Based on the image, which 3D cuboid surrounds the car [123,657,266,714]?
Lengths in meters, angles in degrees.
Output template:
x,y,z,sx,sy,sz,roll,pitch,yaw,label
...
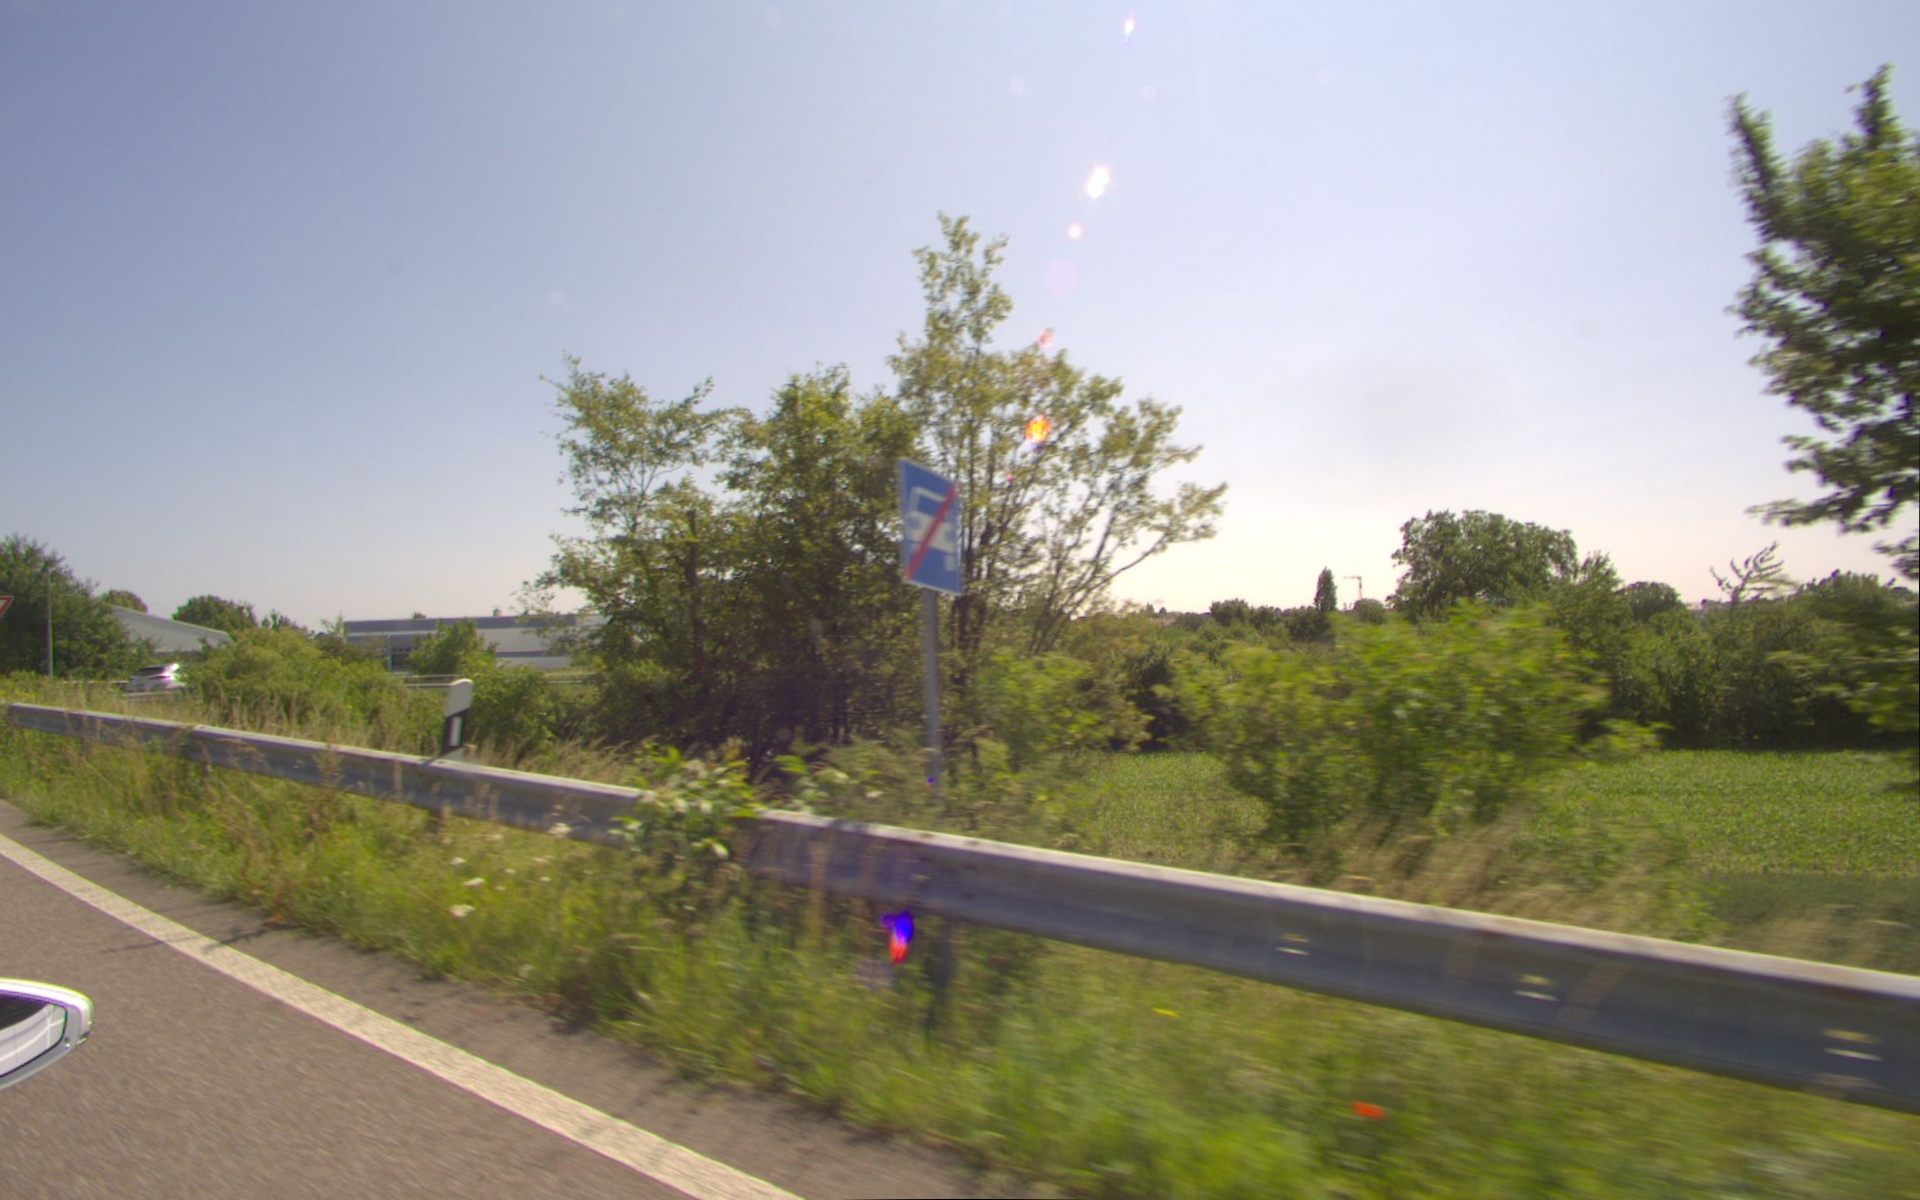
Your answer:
x,y,z,sx,sy,sz,roll,pitch,yaw,label
-27.049,2.978,35.549,1.779,1.712,4.001,-1,-1,5,car
